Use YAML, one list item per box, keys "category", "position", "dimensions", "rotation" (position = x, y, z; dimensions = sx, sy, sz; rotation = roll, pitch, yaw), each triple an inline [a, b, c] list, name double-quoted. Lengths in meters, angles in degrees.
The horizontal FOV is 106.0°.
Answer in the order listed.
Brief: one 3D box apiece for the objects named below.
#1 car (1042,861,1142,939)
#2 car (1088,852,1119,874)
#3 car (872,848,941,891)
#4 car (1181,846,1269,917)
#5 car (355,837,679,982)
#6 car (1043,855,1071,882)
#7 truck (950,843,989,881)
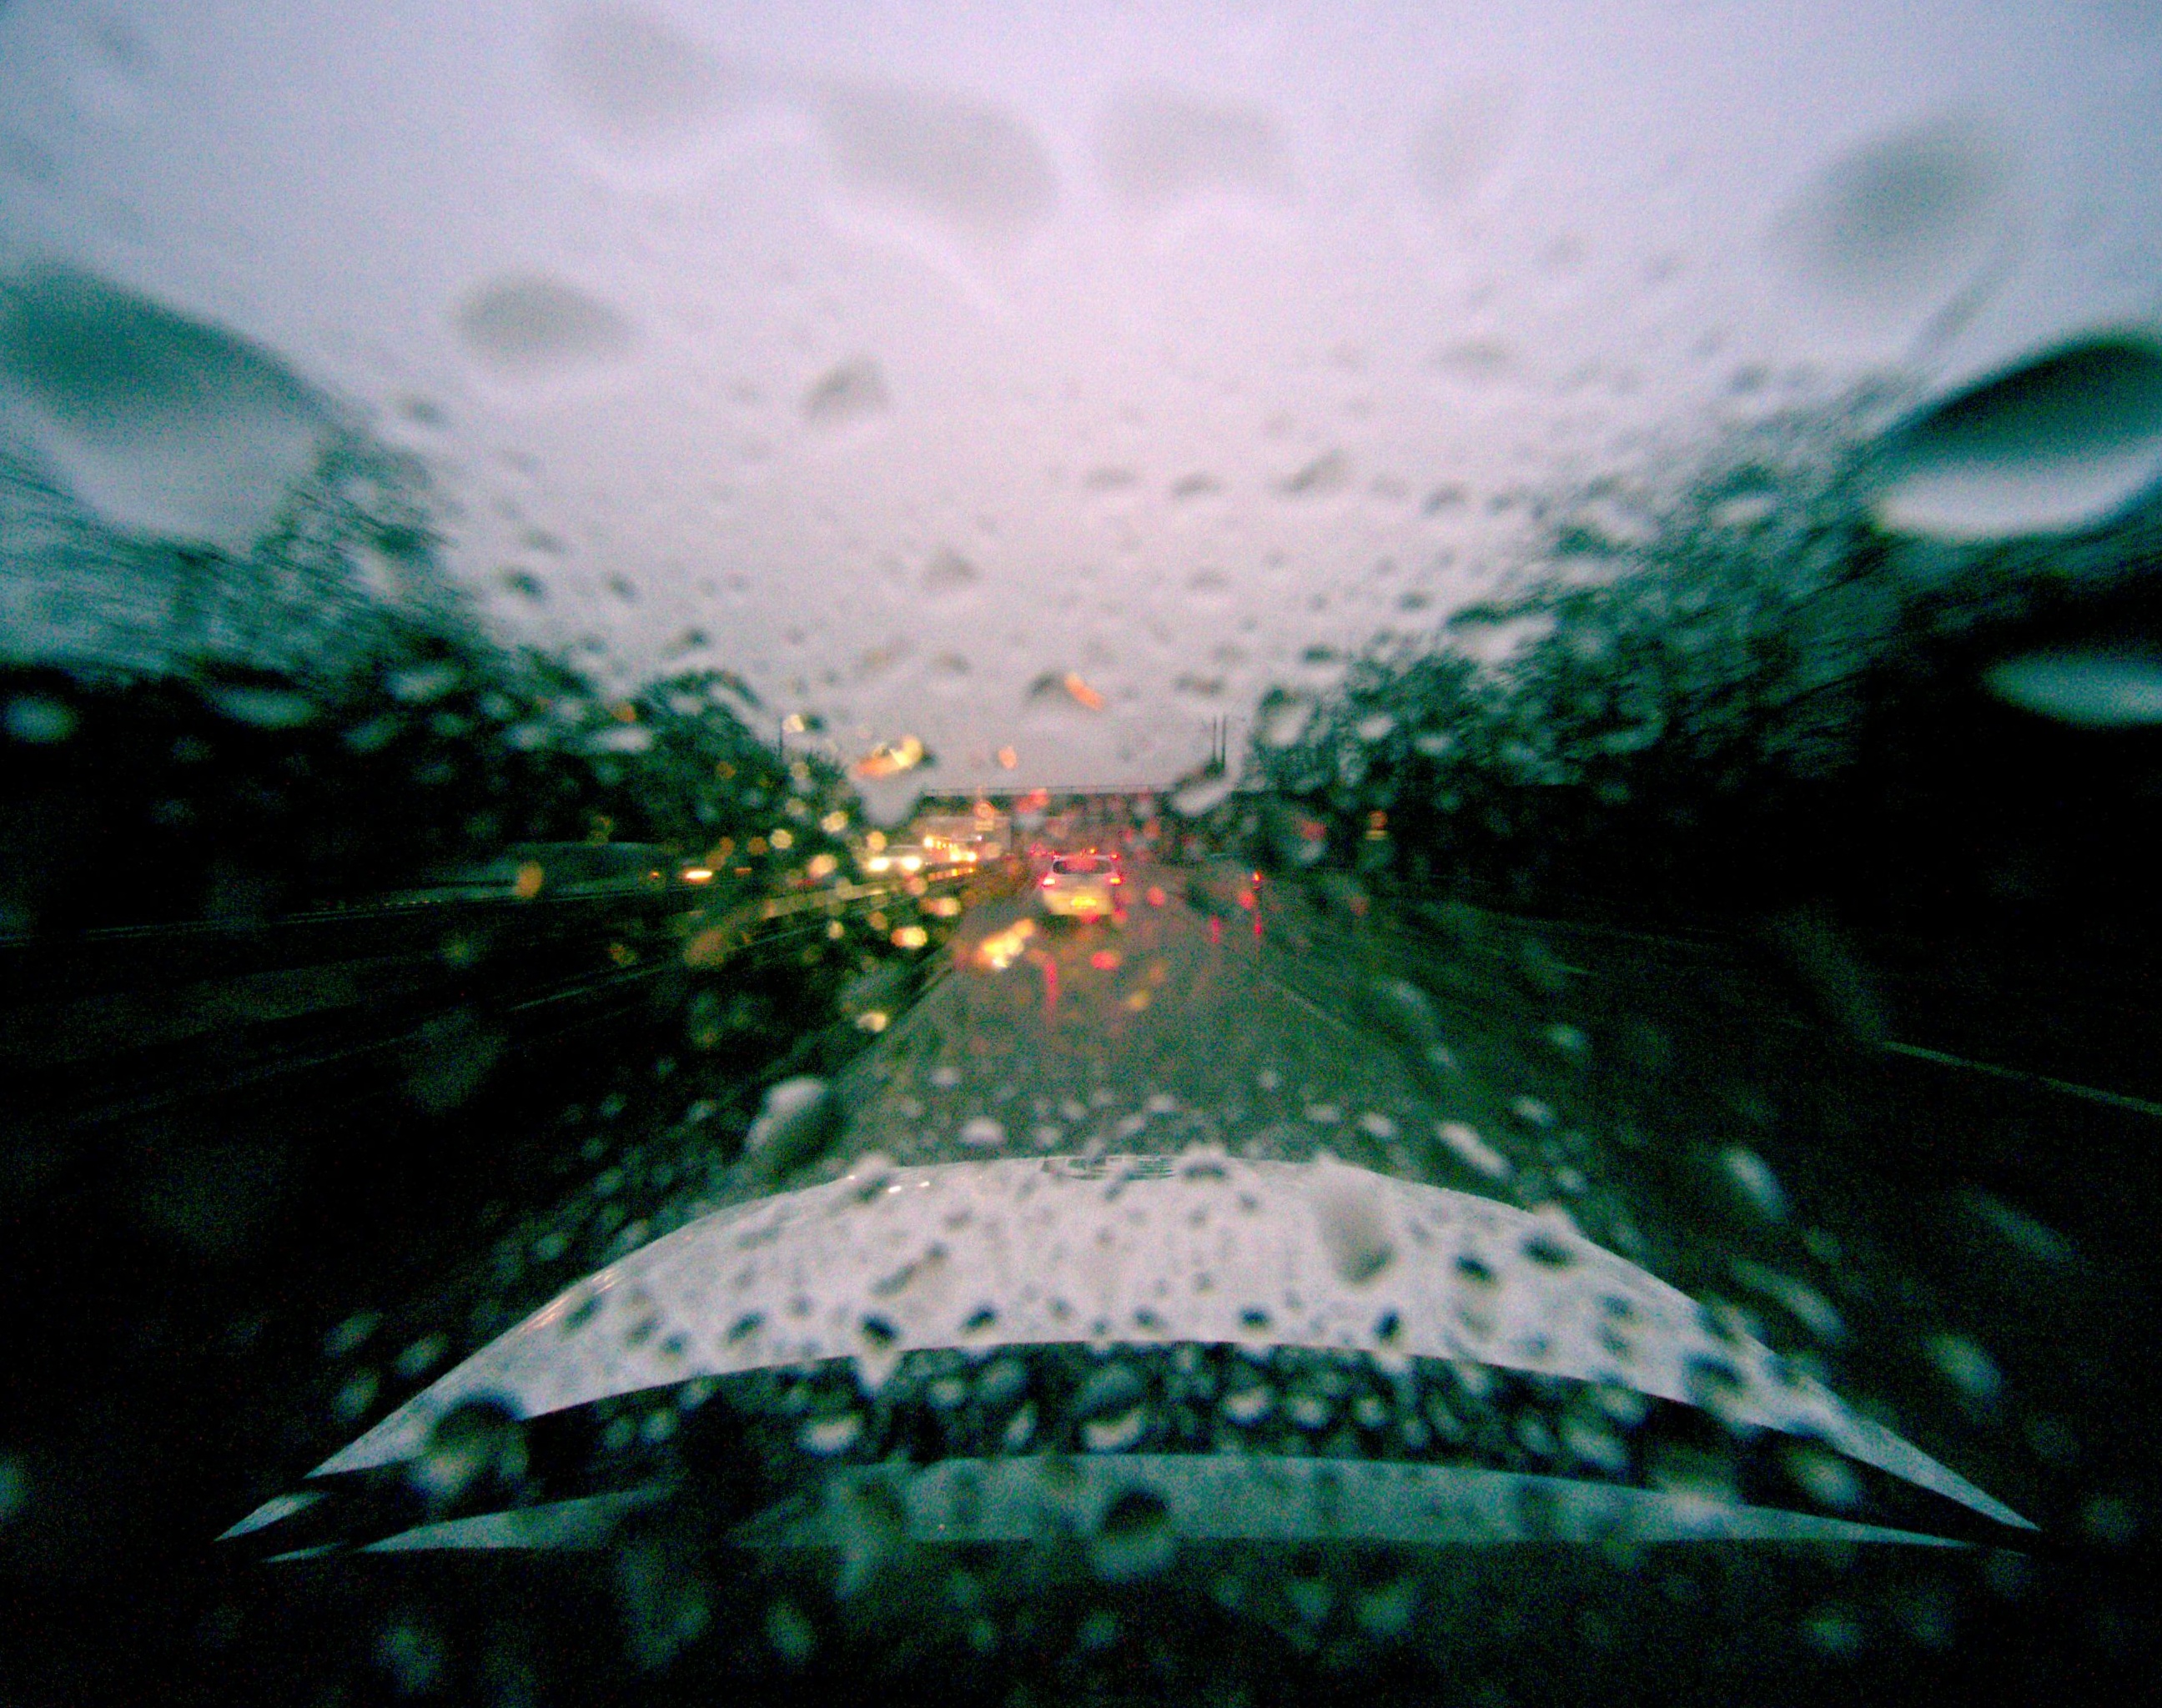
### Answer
- category: "car"
  position: [0.192, 0.964, 18.661]
  dimensions: [2.019, 1.575, 3.998]
  rotation: [1, -1, -1]
- category: "car"
  position: [1.841, 0.779, 67.314]
  dimensions: [1.931, 1.546, 3.764]
  rotation: [-5, -2, -7]
- category: "car"
  position: [-7.909, 0.701, 37.447]
  dimensions: [1.980, 1.830, 5.118]
  rotation: [1, -1, 0]
- category: "car"
  position: [4.403, 0.823, 25.409]
  dimensions: [1.928, 2.019, 3.769]
  rotation: [1, -1, -2]
- category: "car"
  position: [-7.606, 0.683, 11.569]
  dimensions: [1.761, 1.684, 3.999]
  rotation: [1, -1, 0]
- category: "car"
  position: [-1.923, 1.116, 63.701]
  dimensions: [1.989, 2.014, 3.994]
  rotation: [1, -1, -4]
- category: "truck"
  position: [-9.910, 0.721, 73.170]
  dimensions: [2.707, 3.161, 7.722]
  rotation: [1, -1, -2]
